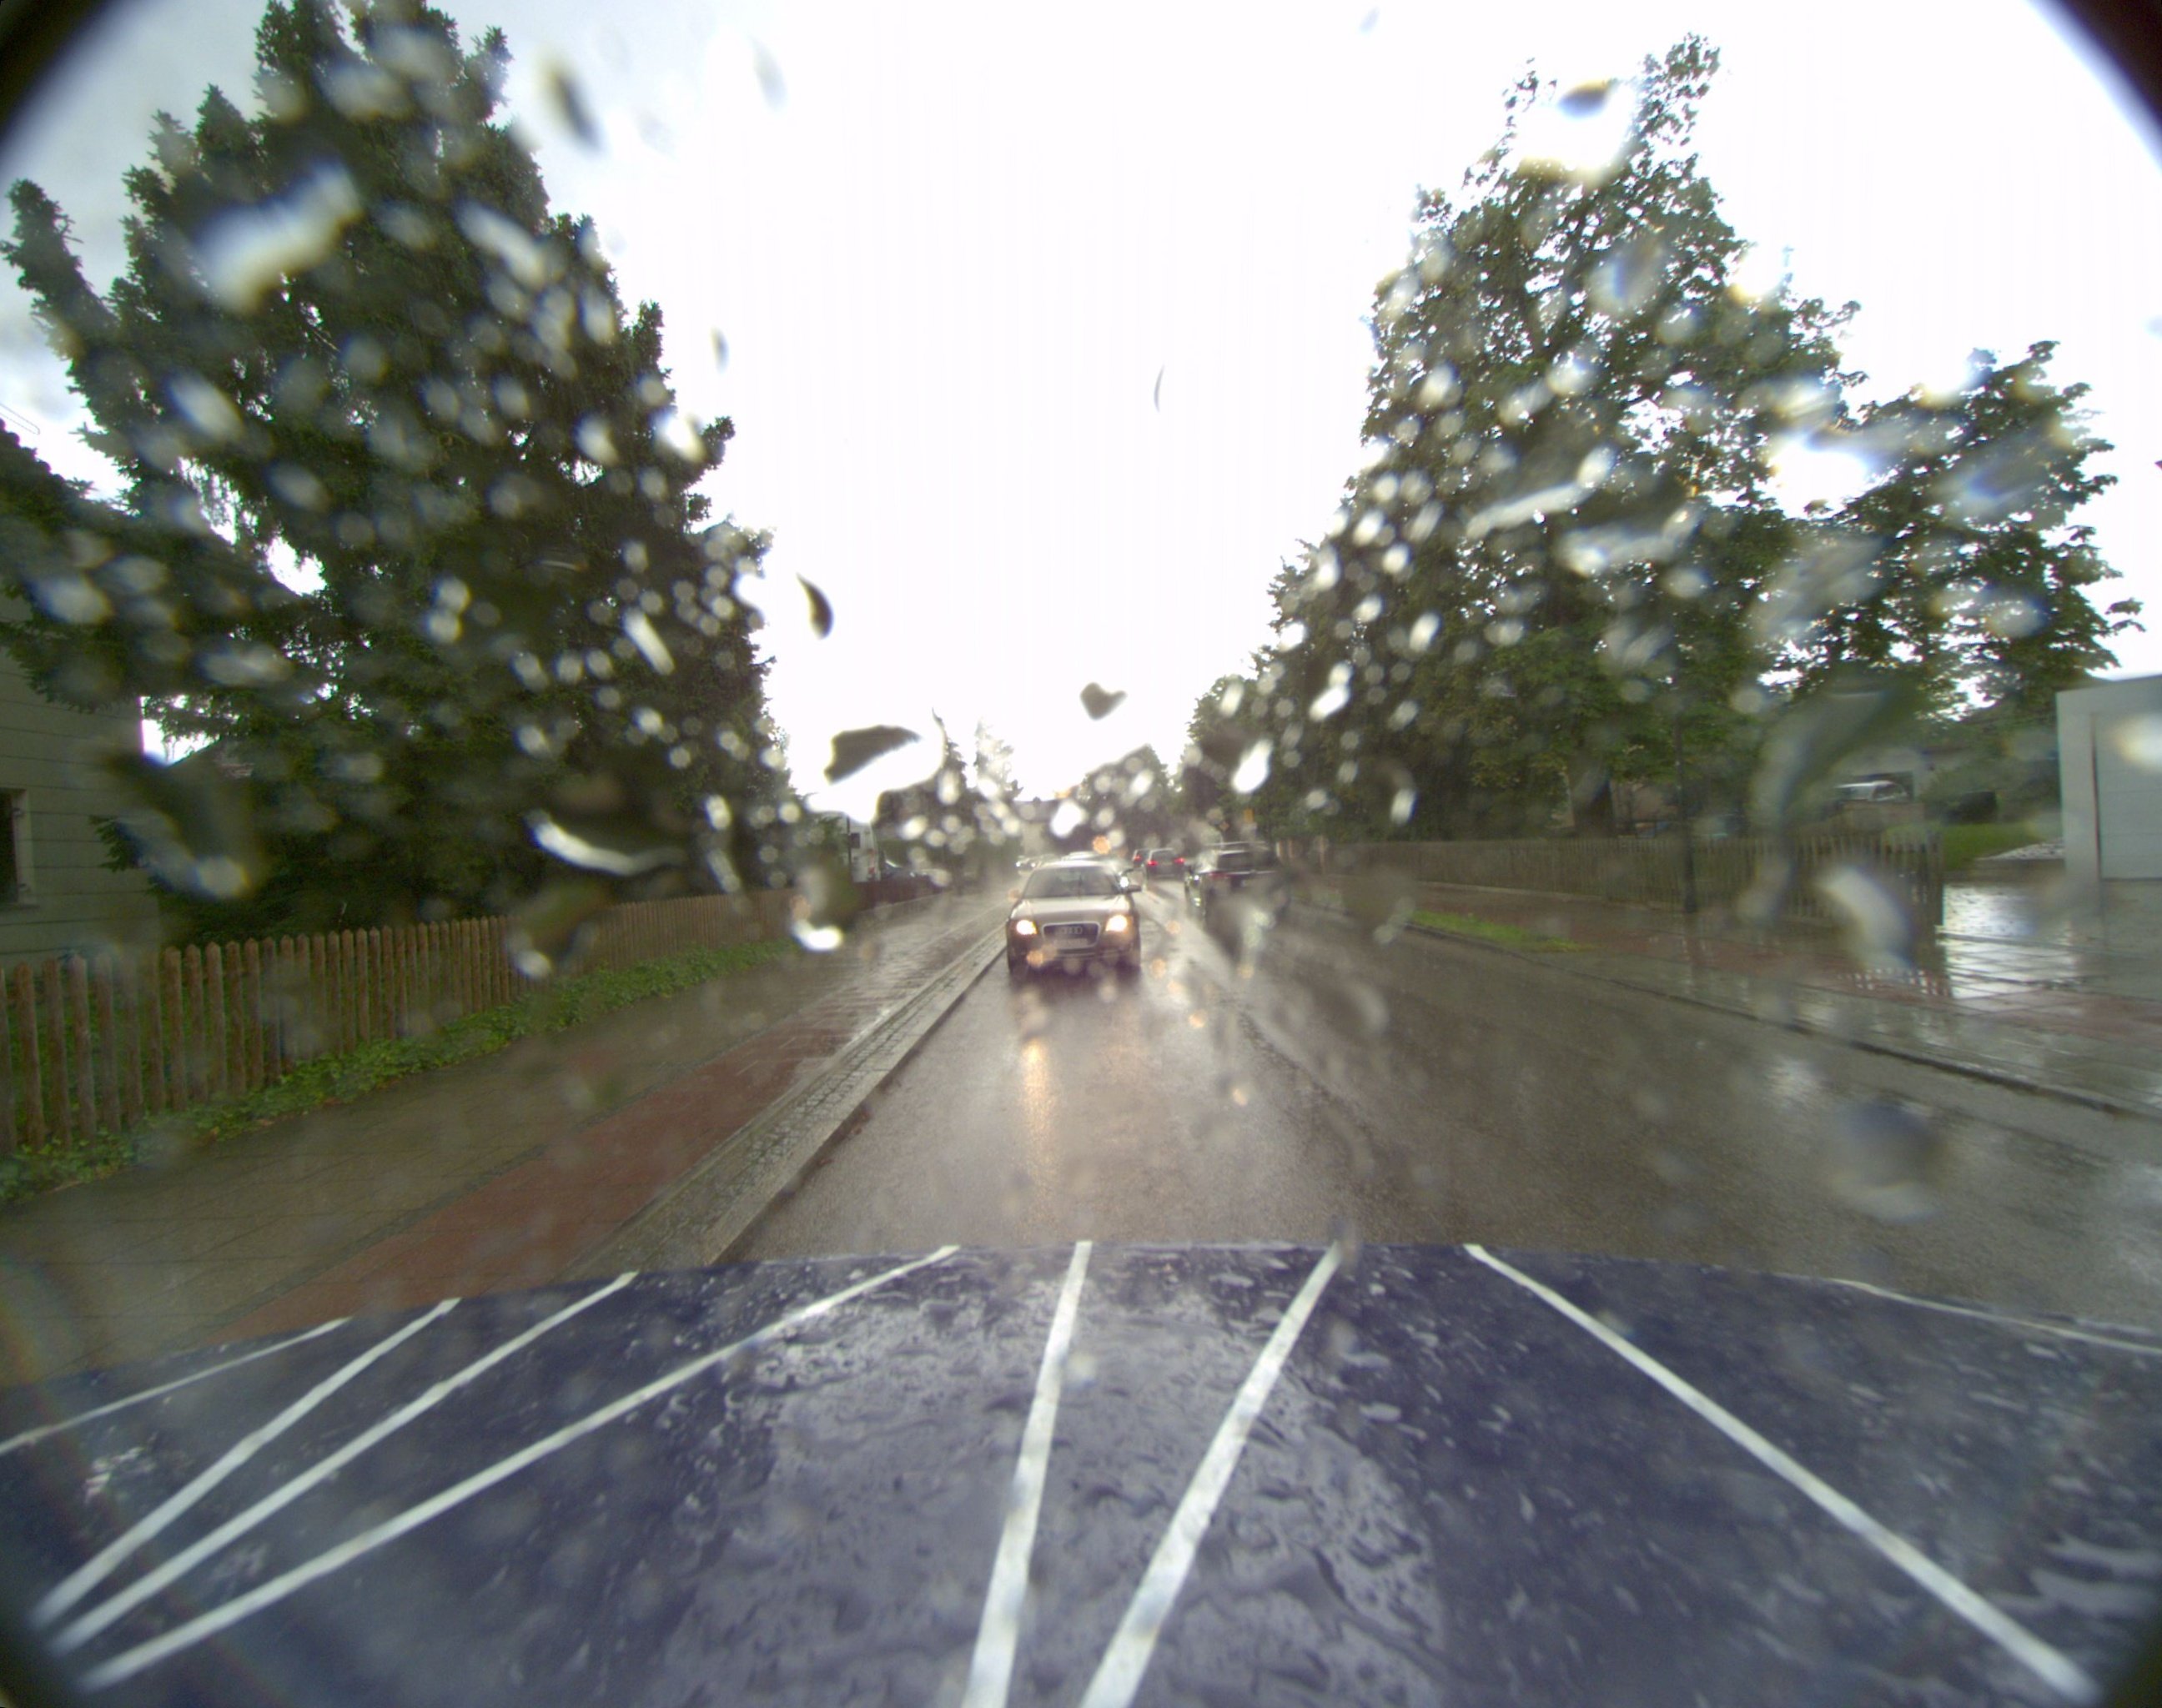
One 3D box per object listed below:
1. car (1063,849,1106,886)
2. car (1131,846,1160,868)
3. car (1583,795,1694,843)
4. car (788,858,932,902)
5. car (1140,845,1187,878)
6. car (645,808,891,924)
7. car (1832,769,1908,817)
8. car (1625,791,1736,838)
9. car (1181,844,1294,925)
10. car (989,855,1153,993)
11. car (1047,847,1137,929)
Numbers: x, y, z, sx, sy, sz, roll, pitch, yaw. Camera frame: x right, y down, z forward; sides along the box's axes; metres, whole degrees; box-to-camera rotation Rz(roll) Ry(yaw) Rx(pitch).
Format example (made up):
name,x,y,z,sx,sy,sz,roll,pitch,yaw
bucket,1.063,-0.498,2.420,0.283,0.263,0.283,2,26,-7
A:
name,x,y,z,sx,sy,sz,roll,pitch,yaw
car,0.206,0.593,37.441,1.872,1.512,4.960,-5,1,1
car,4.569,0.184,54.435,1.712,1.457,3.999,-4,1,1
car,25.975,-1.590,35.505,1.845,1.792,3.649,-6,0,-33
car,-7.366,0.838,25.731,4.443,1.413,1.829,0,1,-7
car,4.076,0.335,38.160,1.785,1.457,4.374,-4,1,0
car,-7.614,0.264,19.039,5.321,2.712,1.998,0,1,-9
car,40.635,-3.124,39.127,3.857,2.281,1.782,-3,1,-29
car,28.608,-1.848,36.352,1.845,1.792,3.649,-6,0,-33
car,3.347,0.589,17.019,1.642,1.512,4.188,-3,0,1
car,-0.093,0.832,11.084,1.872,1.512,4.188,-3,1,1
car,0.273,0.727,19.229,1.872,1.603,4.960,-5,1,1
